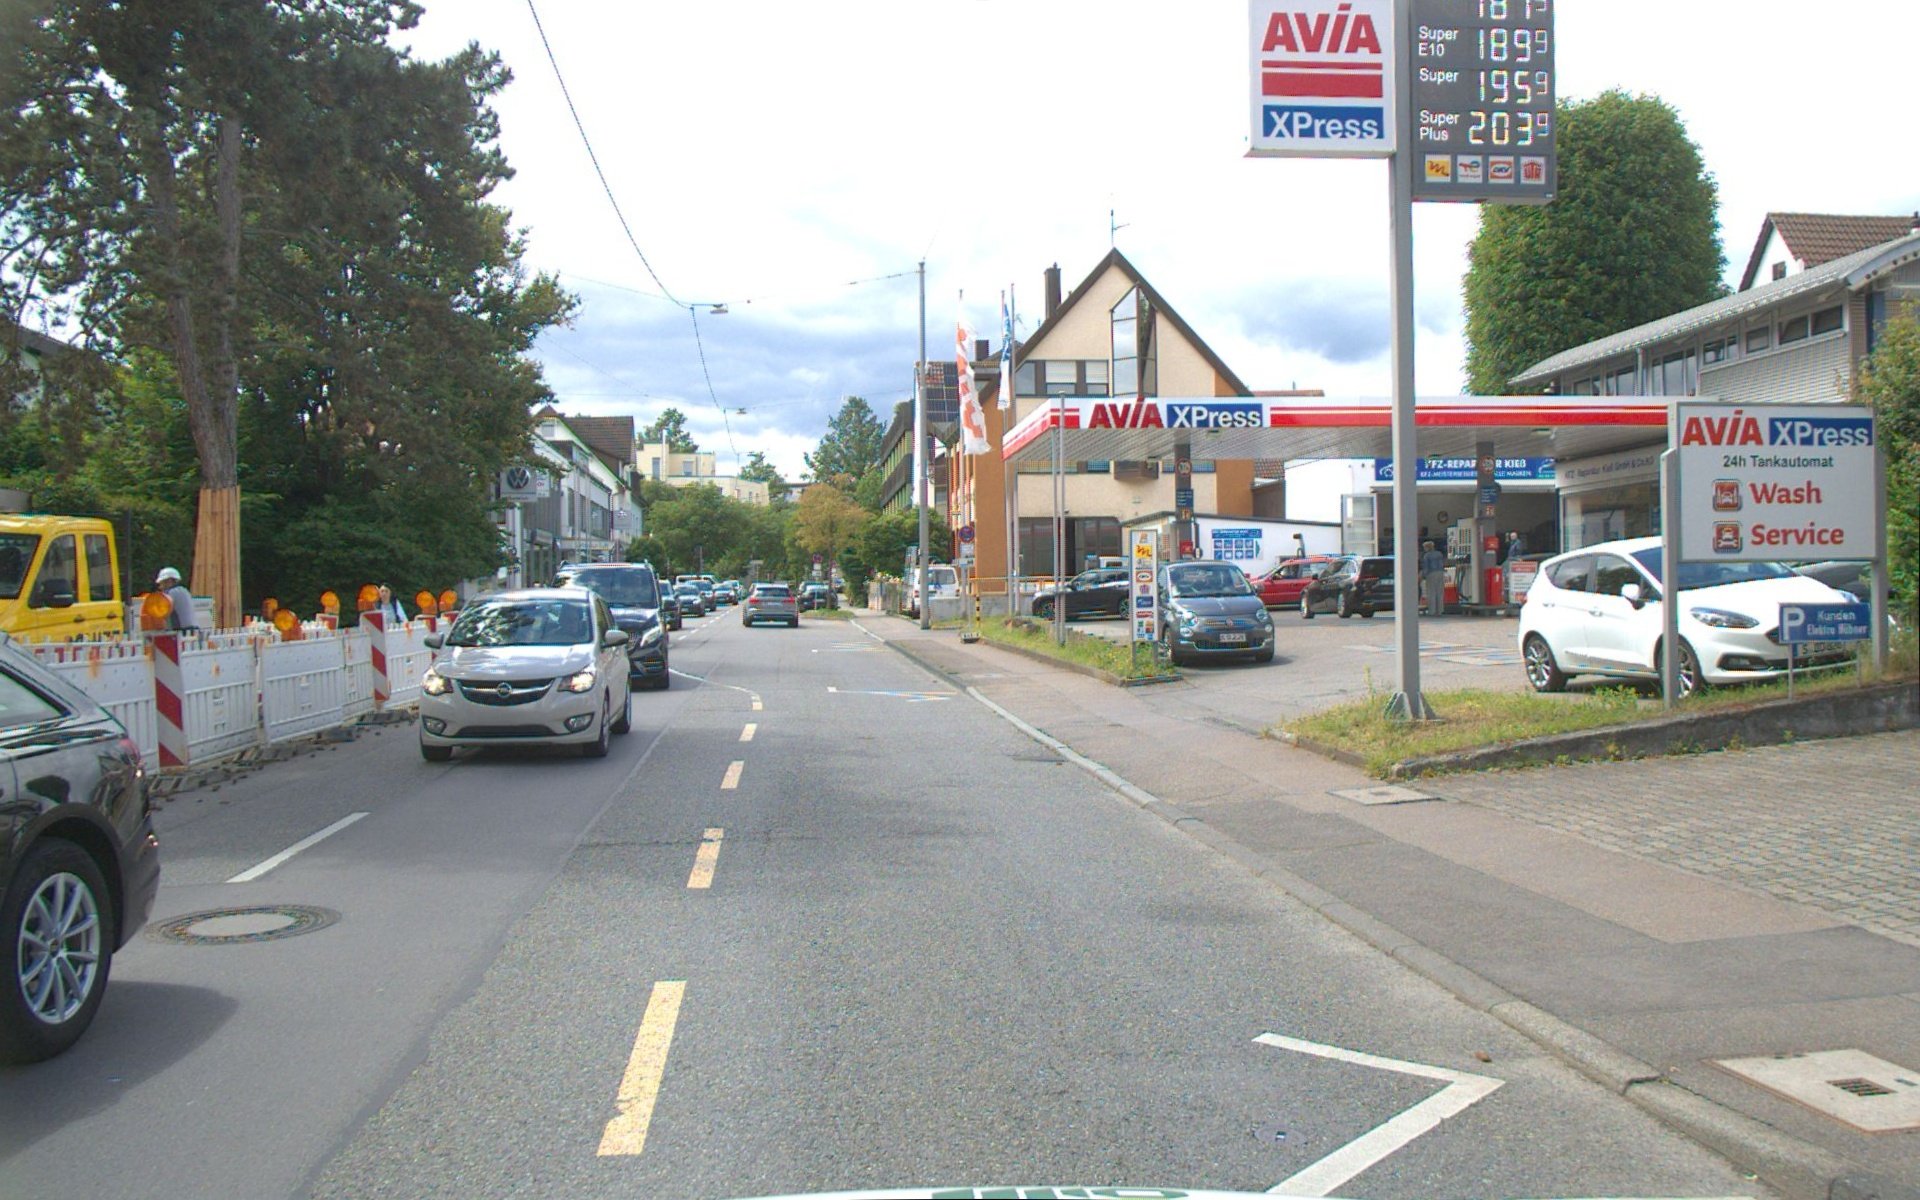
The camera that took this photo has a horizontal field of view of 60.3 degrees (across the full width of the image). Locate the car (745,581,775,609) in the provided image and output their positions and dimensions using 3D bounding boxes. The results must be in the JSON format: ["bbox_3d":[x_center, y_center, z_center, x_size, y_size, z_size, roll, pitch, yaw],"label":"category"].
[{"bbox_3d":[-11.469,-0.278,94.696,1.585,1.550,3.562,-1,0,-9],"label":"car"}]

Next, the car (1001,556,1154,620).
[{"bbox_3d":[3.539,-0.354,50.014,4.224,1.658,1.633,-3,1,29],"label":"car"}]

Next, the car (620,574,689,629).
[{"bbox_3d":[-10.184,0.013,55.376,1.829,1.646,4.530,-2,1,-5],"label":"car"}]

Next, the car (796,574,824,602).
[{"bbox_3d":[-9.380,-0.718,103.712,1.657,1.695,4.458,-1,0,-4],"label":"car"}]

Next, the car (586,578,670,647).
[{"bbox_3d":[-8.210,0.266,40.639,1.834,1.554,4.512,-1,1,-13],"label":"car"}]

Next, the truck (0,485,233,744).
[{"bbox_3d":[-10.461,0.144,18.672,2.261,2.462,6.086,0,0,-5],"label":"truck"}]

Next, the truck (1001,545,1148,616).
[{"bbox_3d":[4.136,-0.728,60.122,4.990,2.500,2.354,0,2,-7],"label":"truck"}]

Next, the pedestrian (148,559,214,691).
[{"bbox_3d":[-9.463,0.299,20.105,0.563,1.574,0.653,0,-1,-12],"label":"pedestrian"}]

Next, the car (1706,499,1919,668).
[{"bbox_3d":[9.581,-0.217,16.396,1.680,1.568,4.648,-5,0,-8],"label":"car"}]

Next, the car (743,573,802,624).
[{"bbox_3d":[-6.642,-0.029,58.289,1.919,1.550,4.320,0,-3,-8],"label":"car"}]

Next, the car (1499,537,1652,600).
[{"bbox_3d":[17.229,-0.904,46.349,3.670,1.465,1.620,-3,5,-4],"label":"car"}]

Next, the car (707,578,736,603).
[{"bbox_3d":[-15.431,-0.605,107.071,1.797,1.550,4.162,-1,0,-9],"label":"car"}]

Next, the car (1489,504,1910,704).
[{"bbox_3d":[6.922,0.042,16.032,1.605,1.555,4.195,-5,0,-9],"label":"car"}]

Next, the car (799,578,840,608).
[{"bbox_3d":[-7.175,-0.346,84.344,1.946,1.473,4.745,-1,0,-6],"label":"car"}]

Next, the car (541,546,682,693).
[{"bbox_3d":[-5.359,0.221,25.393,1.875,1.986,4.898,-1,1,-13],"label":"car"}]

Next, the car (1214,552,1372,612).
[{"bbox_3d":[9.882,-0.524,49.056,4.495,1.747,1.827,0,0,13],"label":"car"}]

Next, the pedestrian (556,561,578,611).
[{"bbox_3d":[-14.097,-0.486,59.387,0.670,1.767,0.867,0,0,-7],"label":"pedestrian"}]

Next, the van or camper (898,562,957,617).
[{"bbox_3d":[-1.325,-0.391,64.955,1.831,2.067,4.540,0,0,-7],"label":"van or camper"}]

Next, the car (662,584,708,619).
[{"bbox_3d":[-12.382,0.039,74.576,1.707,1.454,4.518,-2,1,-6],"label":"car"}]

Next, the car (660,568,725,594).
[{"bbox_3d":[-23.575,-1.683,145.724,5.101,2.028,2.110,-3,1,12],"label":"car"}]

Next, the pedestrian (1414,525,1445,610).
[{"bbox_3d":[11.010,-0.755,38.774,0.574,1.969,0.539,0,-1,31],"label":"pedestrian"}]

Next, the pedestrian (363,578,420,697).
[{"bbox_3d":[-7.925,0.520,23.051,0.561,1.629,0.534,0,-1,38],"label":"pedestrian"}]

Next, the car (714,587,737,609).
[{"bbox_3d":[-17.775,-0.126,125.599,1.658,1.607,3.794,-1,0,-7],"label":"car"}]

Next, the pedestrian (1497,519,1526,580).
[{"bbox_3d":[17.067,-1.556,51.170,0.662,1.877,0.681,0,-1,40],"label":"pedestrian"}]

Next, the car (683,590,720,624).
[{"bbox_3d":[-13.807,0.345,88.514,1.796,1.658,4.315,-1,1,-7],"label":"car"}]

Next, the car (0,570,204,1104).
[{"bbox_3d":[-3.707,0.726,3.785,1.782,1.550,4.560,-2,0,0],"label":"car"}]

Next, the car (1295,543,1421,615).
[{"bbox_3d":[9.591,-0.473,40.199,1.598,1.636,4.566,-1,0,-5],"label":"car"}]

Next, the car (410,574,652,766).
[{"bbox_3d":[-3.877,0.570,15.477,1.583,1.550,3.566,-1,0,-5],"label":"car"}]

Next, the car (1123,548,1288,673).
[{"bbox_3d":[3.756,0.134,25.993,1.584,1.622,4.157,-7,1,-3],"label":"car"}]
